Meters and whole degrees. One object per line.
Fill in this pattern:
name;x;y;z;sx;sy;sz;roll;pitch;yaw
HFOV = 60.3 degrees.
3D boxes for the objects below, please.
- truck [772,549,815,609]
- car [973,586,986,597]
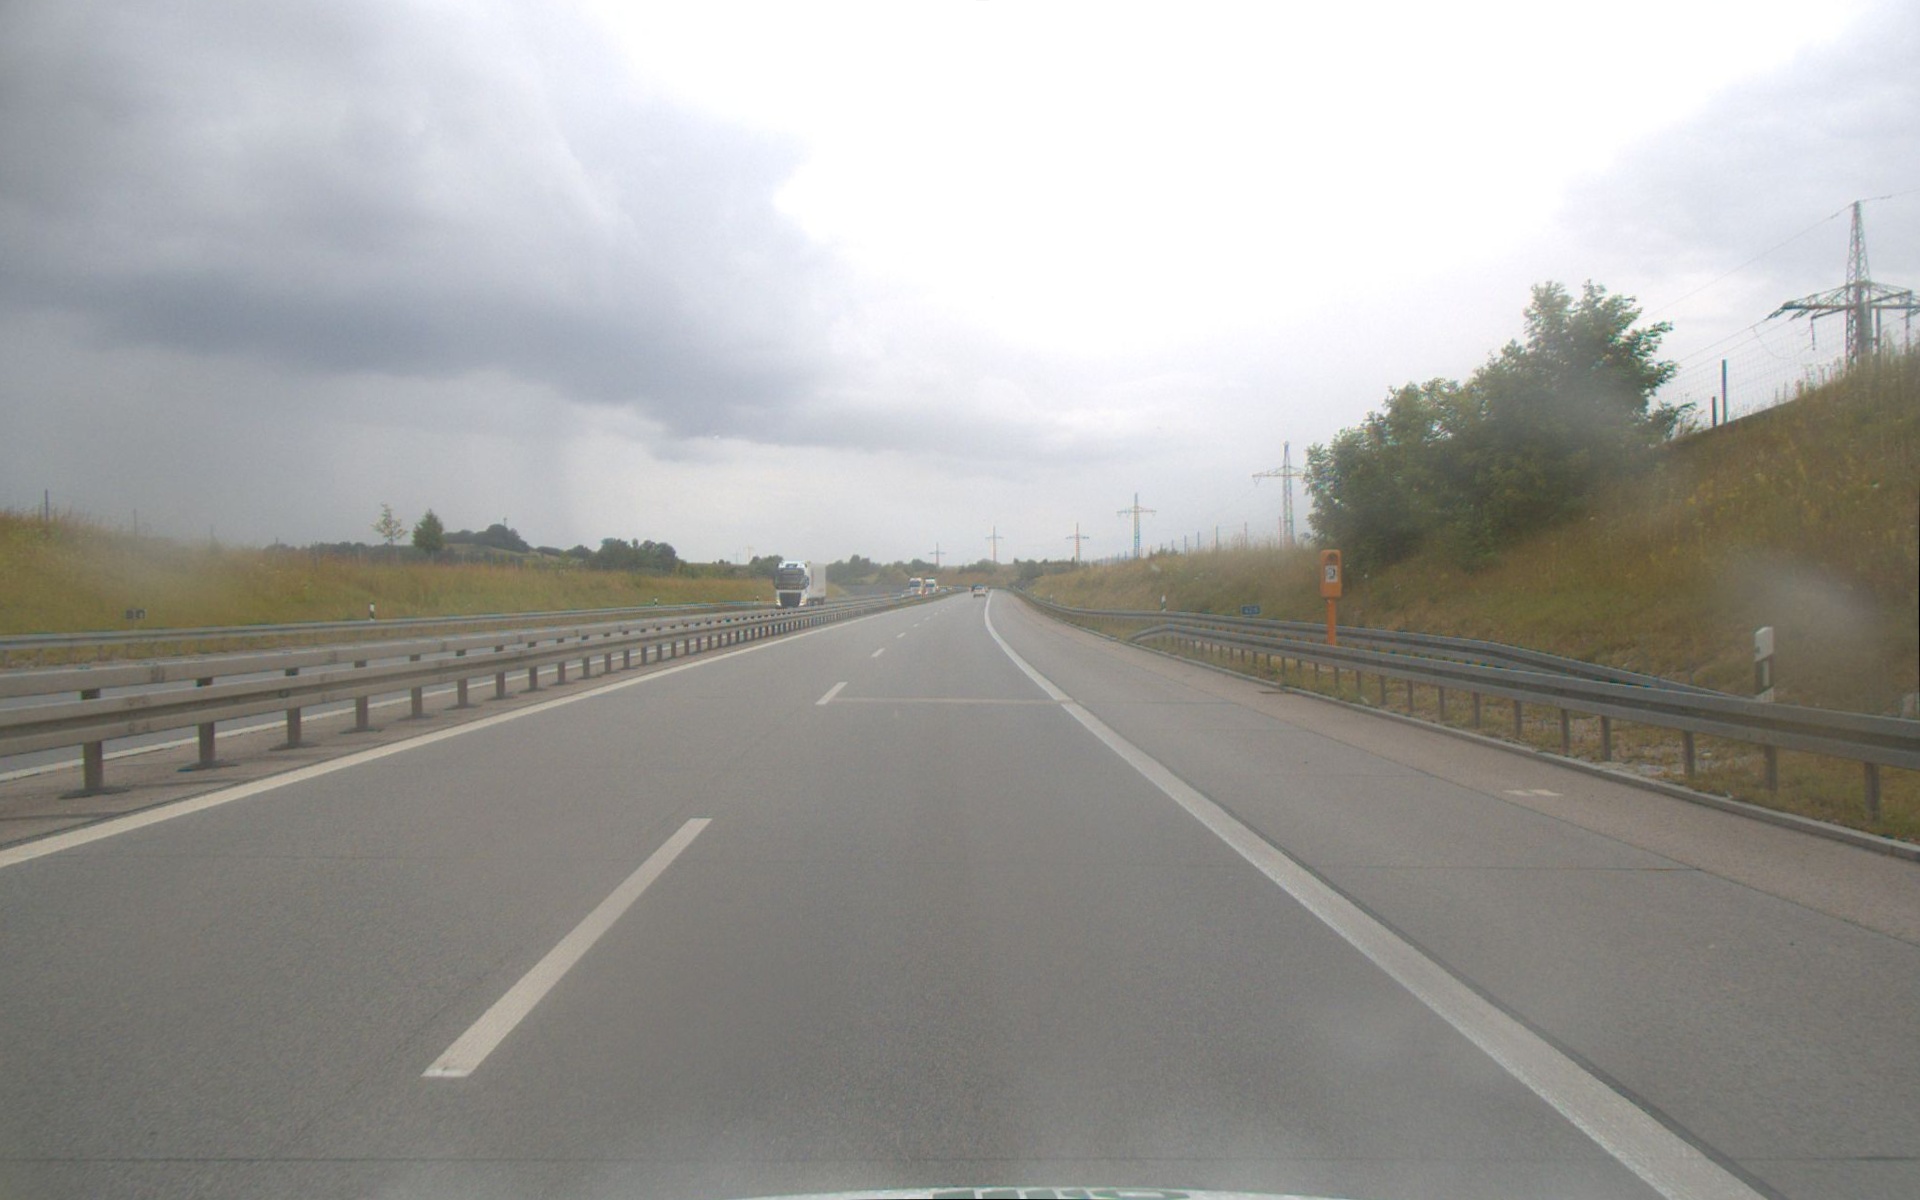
truck;-13.473;-1.726;134.590;2.738;4.728;6.920;-1;0;0
car;3.052;-1.395;261.929;1.915;1.680;4.001;0;-1;3
